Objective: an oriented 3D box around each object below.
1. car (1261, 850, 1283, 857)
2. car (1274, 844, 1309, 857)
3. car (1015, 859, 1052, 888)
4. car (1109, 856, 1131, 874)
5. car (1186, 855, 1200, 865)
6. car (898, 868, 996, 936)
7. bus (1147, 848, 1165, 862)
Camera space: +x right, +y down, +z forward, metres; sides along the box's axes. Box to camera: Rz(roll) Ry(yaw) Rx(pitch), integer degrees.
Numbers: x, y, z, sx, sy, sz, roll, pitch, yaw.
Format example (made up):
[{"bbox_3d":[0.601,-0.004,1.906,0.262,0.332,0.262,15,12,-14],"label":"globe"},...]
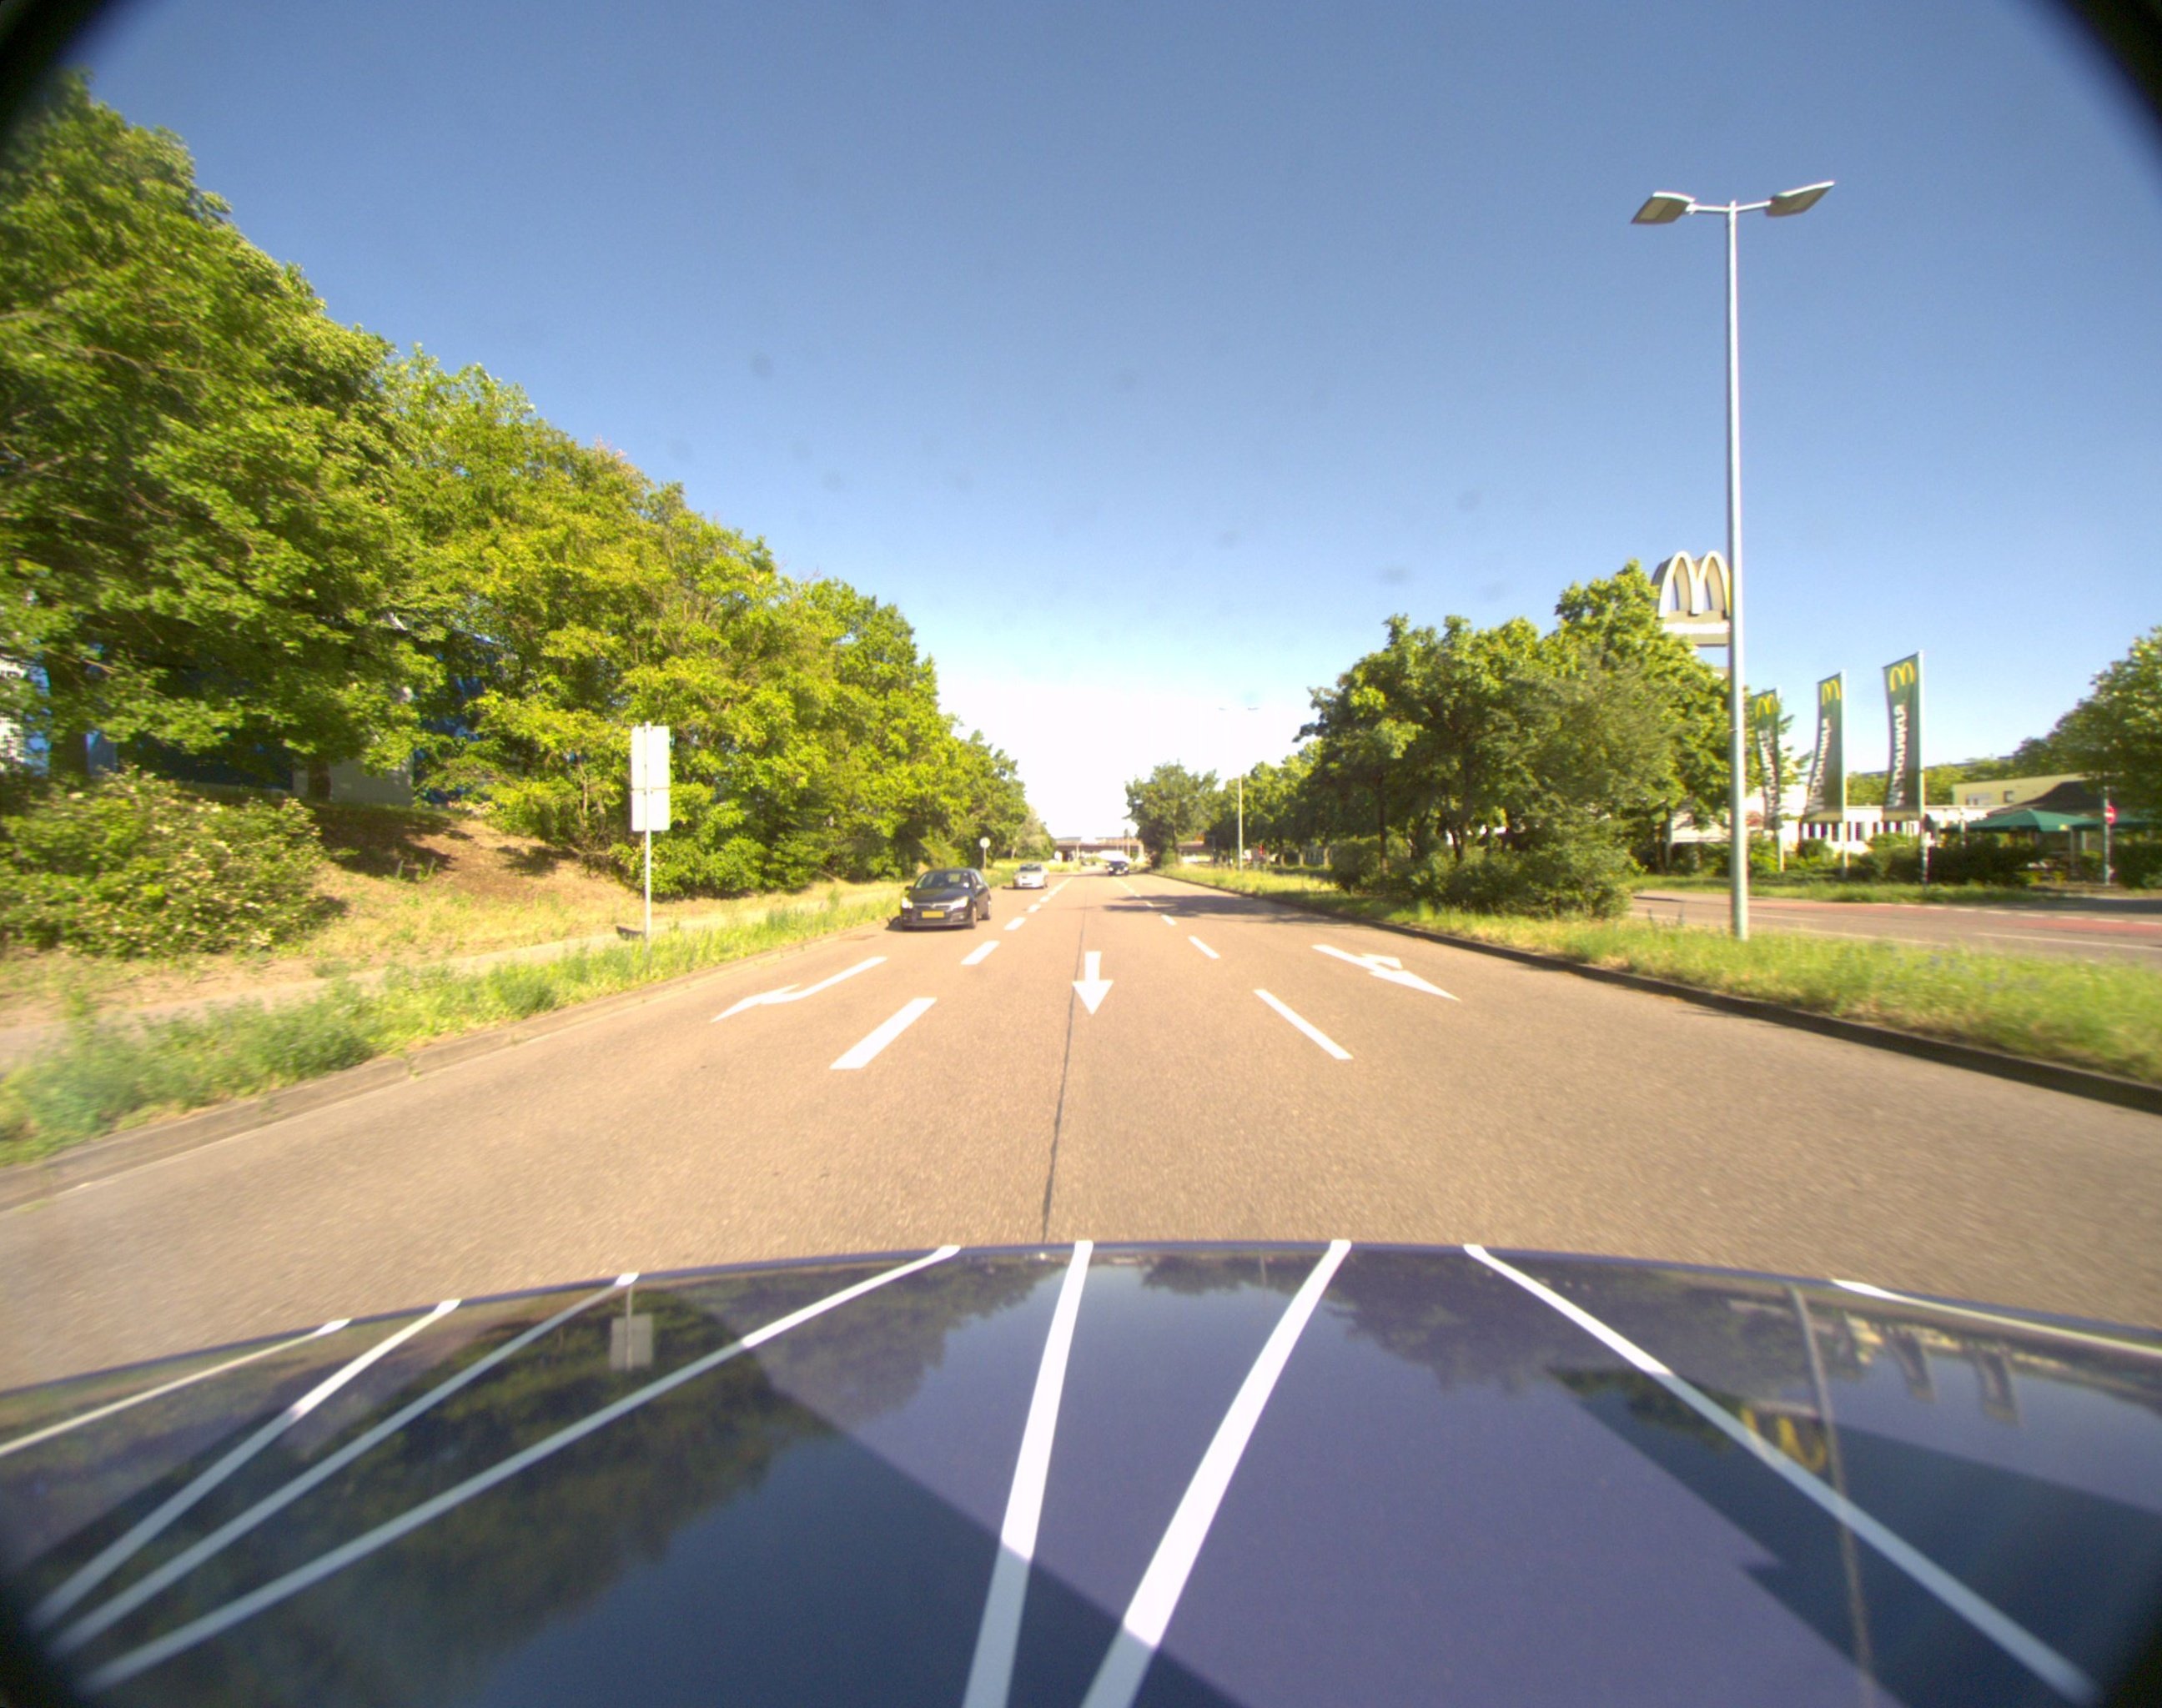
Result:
[{"bbox_3d":[39.697,-0.149,158.146,4.129,1.380,1.946,0,0,-2],"label":"car"},{"bbox_3d":[40.224,-0.608,145.298,5.893,2.419,2.206,0,0,-3],"label":"car"},{"bbox_3d":[-2.686,1.080,43.897,1.827,1.528,4.042,-1,0,1],"label":"car"},{"bbox_3d":[3.616,1.007,70.717,1.827,1.528,4.042,-1,0,1],"label":"car"},{"bbox_3d":[18.532,1.039,125.519,1.760,1.511,4.530,1,-1,1],"label":"car"},{"bbox_3d":[-3.255,1.117,19.147,1.707,1.446,3.959,-1,0,0],"label":"car"},{"bbox_3d":[15.734,0.299,160.117,2.728,2.705,11.088,2,0,1],"label":"bus"}]
